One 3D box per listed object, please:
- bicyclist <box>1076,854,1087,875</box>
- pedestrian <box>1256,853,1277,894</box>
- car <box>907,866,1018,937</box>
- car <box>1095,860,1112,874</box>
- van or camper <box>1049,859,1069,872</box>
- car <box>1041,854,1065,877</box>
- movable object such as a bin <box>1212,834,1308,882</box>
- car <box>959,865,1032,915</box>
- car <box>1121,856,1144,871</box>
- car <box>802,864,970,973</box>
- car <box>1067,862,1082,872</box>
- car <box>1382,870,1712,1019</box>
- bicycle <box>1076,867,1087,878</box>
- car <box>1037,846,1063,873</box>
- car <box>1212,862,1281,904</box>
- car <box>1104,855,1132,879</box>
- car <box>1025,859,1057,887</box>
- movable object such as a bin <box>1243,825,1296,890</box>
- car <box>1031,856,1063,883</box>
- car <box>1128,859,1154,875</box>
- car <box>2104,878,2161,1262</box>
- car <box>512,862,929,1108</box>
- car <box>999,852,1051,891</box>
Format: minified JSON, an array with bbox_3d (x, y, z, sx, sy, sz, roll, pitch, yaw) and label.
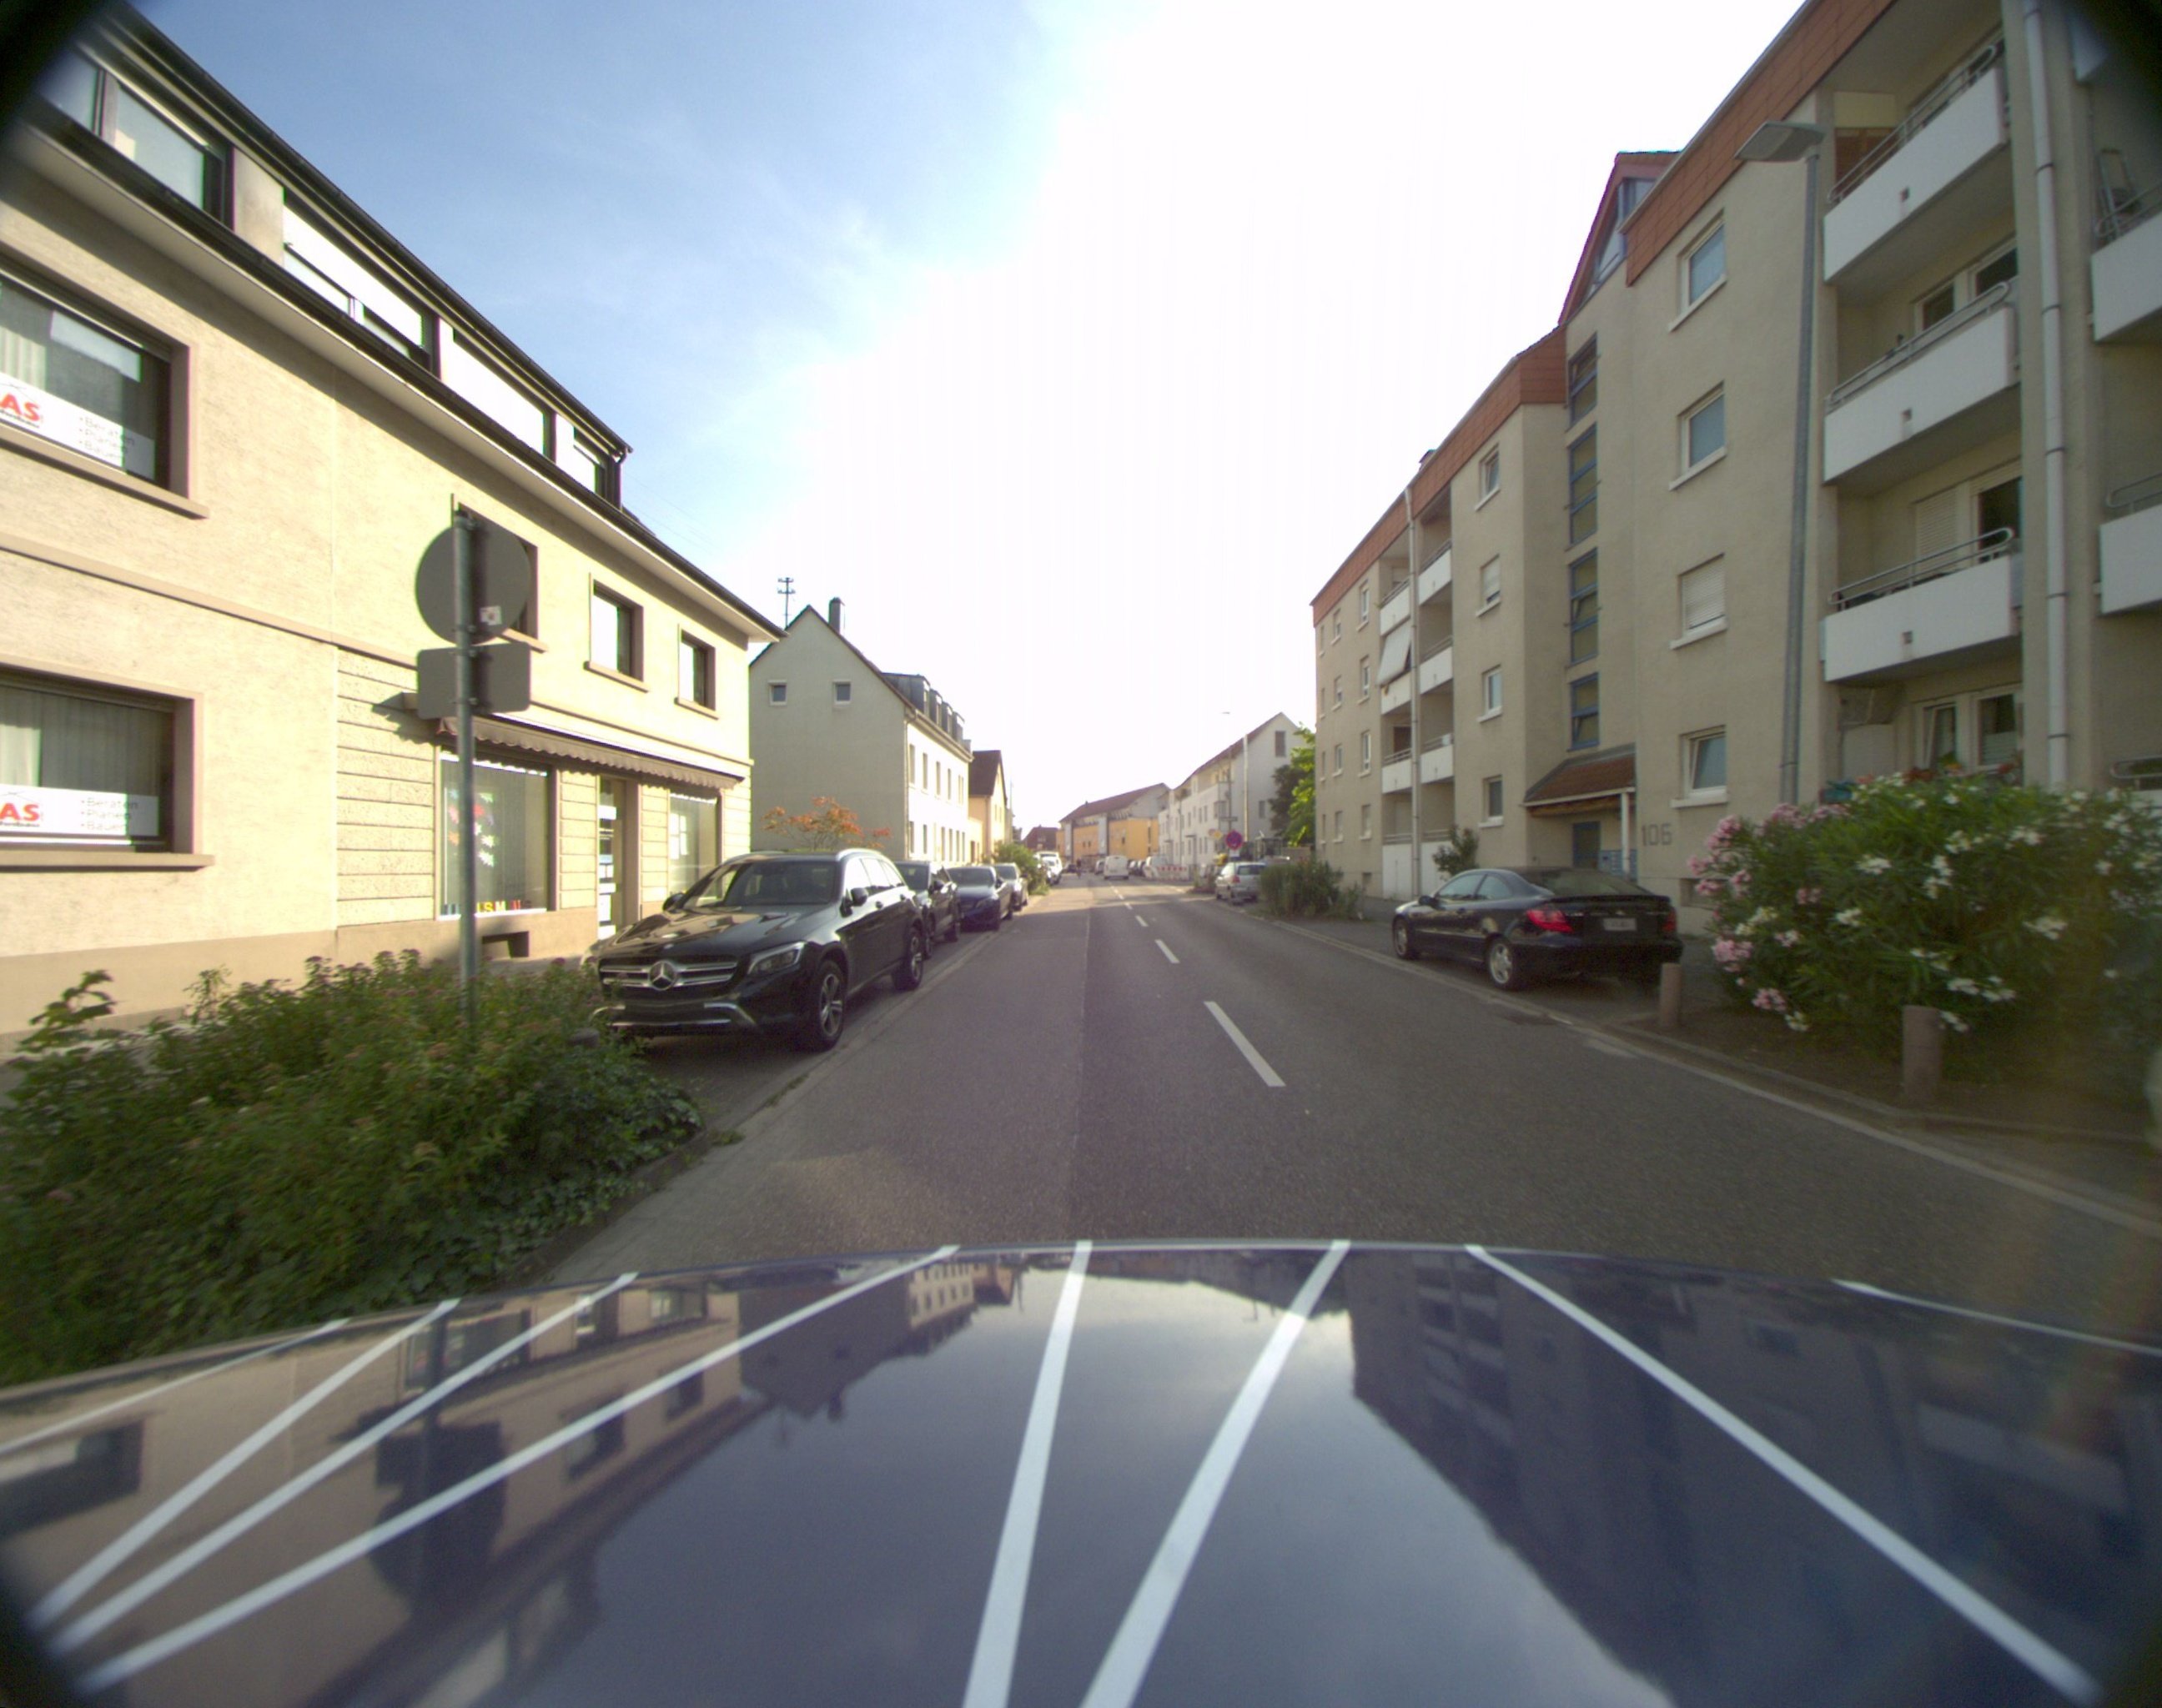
[{"bbox_3d":[0.044,0.858,62.288,0.846,1.679,0.877,-1,0,-7],"label":"bicyclist"},{"bbox_3d":[8.219,0.863,33.722,0.720,1.808,0.745,-1,0,1],"label":"pedestrian"},{"bbox_3d":[-2.649,1.024,18.049,1.834,1.411,4.609,0,0,1],"label":"car"},{"bbox_3d":[2.303,1.355,79.169,1.622,1.446,3.685,0,0,-1],"label":"car"},{"bbox_3d":[-3.696,1.840,124.339,2.001,1.991,4.914,-1,-1,-17],"label":"van or camper"},{"bbox_3d":[-2.250,0.930,62.581,1.782,1.731,4.483,2,0,-1],"label":"car"},{"bbox_3d":[11.357,0.269,48.463,5.516,2.883,2.110,-1,-1,-11],"label":"movable object such as a bin"},{"bbox_3d":[-2.602,1.069,24.087,1.784,1.411,4.496,-1,0,0],"label":"car"},{"bbox_3d":[5.536,1.019,81.769,1.732,1.612,4.261,0,0,-7],"label":"car"},{"bbox_3d":[-3.164,0.978,13.281,1.834,1.551,4.317,0,0,0],"label":"car"},{"bbox_3d":[-0.954,1.757,103.787,1.835,1.411,4.208,0,0,-3],"label":"car"},{"bbox_3d":[5.498,0.957,9.686,1.690,1.397,4.084,-1,0,0],"label":"car"},{"bbox_3d":[0.017,1.519,62.227,0.680,0.849,2.026,0,0,-6],"label":"bicycle"},{"bbox_3d":[-2.801,0.551,69.110,2.180,2.313,4.997,1,-1,-2],"label":"car"},{"bbox_3d":[5.977,1.002,27.819,1.644,1.387,3.671,-1,0,-1],"label":"car"},{"bbox_3d":[2.828,0.967,59.032,1.927,1.756,4.338,1,0,0],"label":"car"},{"bbox_3d":[-2.284,1.068,44.259,1.593,1.519,4.613,1,0,1],"label":"car"},{"bbox_3d":[9.444,0.174,38.400,1.652,3.119,3.900,0,-1,-1],"label":"movable object such as a bin"},{"bbox_3d":[-2.146,0.965,49.555,1.817,1.673,4.477,1,0,1],"label":"car"},{"bbox_3d":[5.925,1.297,75.970,1.732,1.469,4.261,-2,0,-7],"label":"car"},{"bbox_3d":[5.140,0.848,1.213,1.731,1.546,3.966,-2,0,3],"label":"car"},{"bbox_3d":[-2.885,0.910,7.369,1.834,1.620,4.463,0,0,1],"label":"car"},{"bbox_3d":[-2.793,0.856,38.956,2.080,1.845,4.612,1,-1,3],"label":"car"}]
